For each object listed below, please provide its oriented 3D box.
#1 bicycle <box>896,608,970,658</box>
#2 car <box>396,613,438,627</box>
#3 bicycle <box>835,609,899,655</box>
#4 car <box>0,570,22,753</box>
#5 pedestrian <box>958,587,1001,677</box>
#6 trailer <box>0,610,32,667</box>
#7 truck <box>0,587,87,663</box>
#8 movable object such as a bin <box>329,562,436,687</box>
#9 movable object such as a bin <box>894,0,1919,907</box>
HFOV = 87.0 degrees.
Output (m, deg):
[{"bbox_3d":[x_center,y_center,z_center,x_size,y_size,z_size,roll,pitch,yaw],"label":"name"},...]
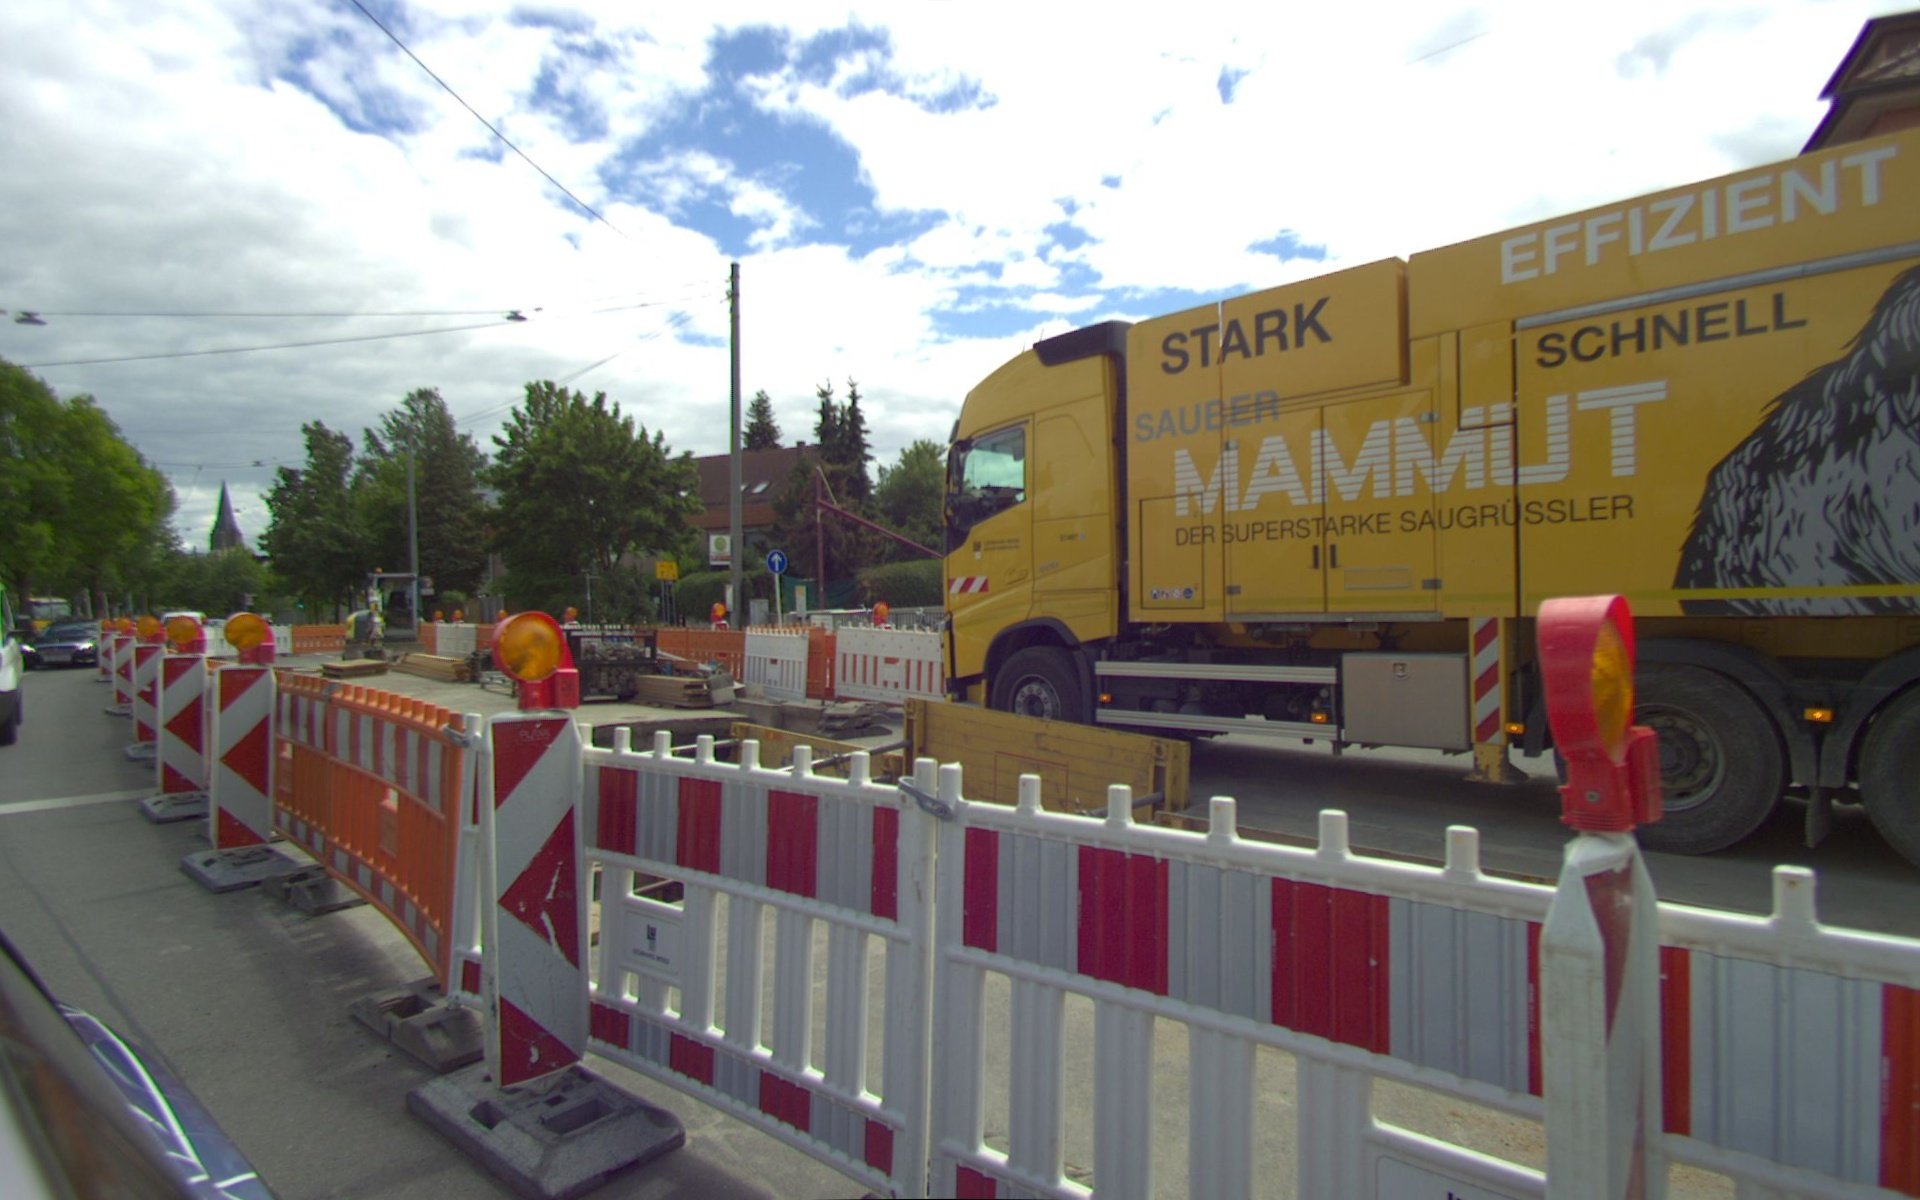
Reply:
[{"bbox_3d":[-0.658,0.757,23.511,0.531,1.091,2.136,-1,0,-38],"label":"bicycle"},{"bbox_3d":[-64.372,2.349,120.085,1.991,1.519,3.961,-2,1,29],"label":"car"},{"bbox_3d":[-2.382,0.798,25.594,0.531,1.091,2.136,-1,0,-38],"label":"bicycle"},{"bbox_3d":[-13.188,0.740,12.657,1.970,2.028,5.518,-4,2,-44],"label":"car"},{"bbox_3d":[0.420,0.685,22.013,0.671,1.901,0.586,-1,0,-41],"label":"pedestrian"},{"bbox_3d":[-40.416,1.649,41.372,2.557,2.262,5.690,-5,2,-32],"label":"trailer"},{"bbox_3d":[-45.159,1.314,47.516,6.552,3.222,2.338,-5,-1,6],"label":"truck"},{"bbox_3d":[-14.094,0.534,24.653,1.966,2.645,6.542,-1,0,-31],"label":"movable object such as a bin"},{"bbox_3d":[4.211,-0.704,6.675,2.561,4.253,11.127,-1,0,-45],"label":"movable object such as a bin"}]
